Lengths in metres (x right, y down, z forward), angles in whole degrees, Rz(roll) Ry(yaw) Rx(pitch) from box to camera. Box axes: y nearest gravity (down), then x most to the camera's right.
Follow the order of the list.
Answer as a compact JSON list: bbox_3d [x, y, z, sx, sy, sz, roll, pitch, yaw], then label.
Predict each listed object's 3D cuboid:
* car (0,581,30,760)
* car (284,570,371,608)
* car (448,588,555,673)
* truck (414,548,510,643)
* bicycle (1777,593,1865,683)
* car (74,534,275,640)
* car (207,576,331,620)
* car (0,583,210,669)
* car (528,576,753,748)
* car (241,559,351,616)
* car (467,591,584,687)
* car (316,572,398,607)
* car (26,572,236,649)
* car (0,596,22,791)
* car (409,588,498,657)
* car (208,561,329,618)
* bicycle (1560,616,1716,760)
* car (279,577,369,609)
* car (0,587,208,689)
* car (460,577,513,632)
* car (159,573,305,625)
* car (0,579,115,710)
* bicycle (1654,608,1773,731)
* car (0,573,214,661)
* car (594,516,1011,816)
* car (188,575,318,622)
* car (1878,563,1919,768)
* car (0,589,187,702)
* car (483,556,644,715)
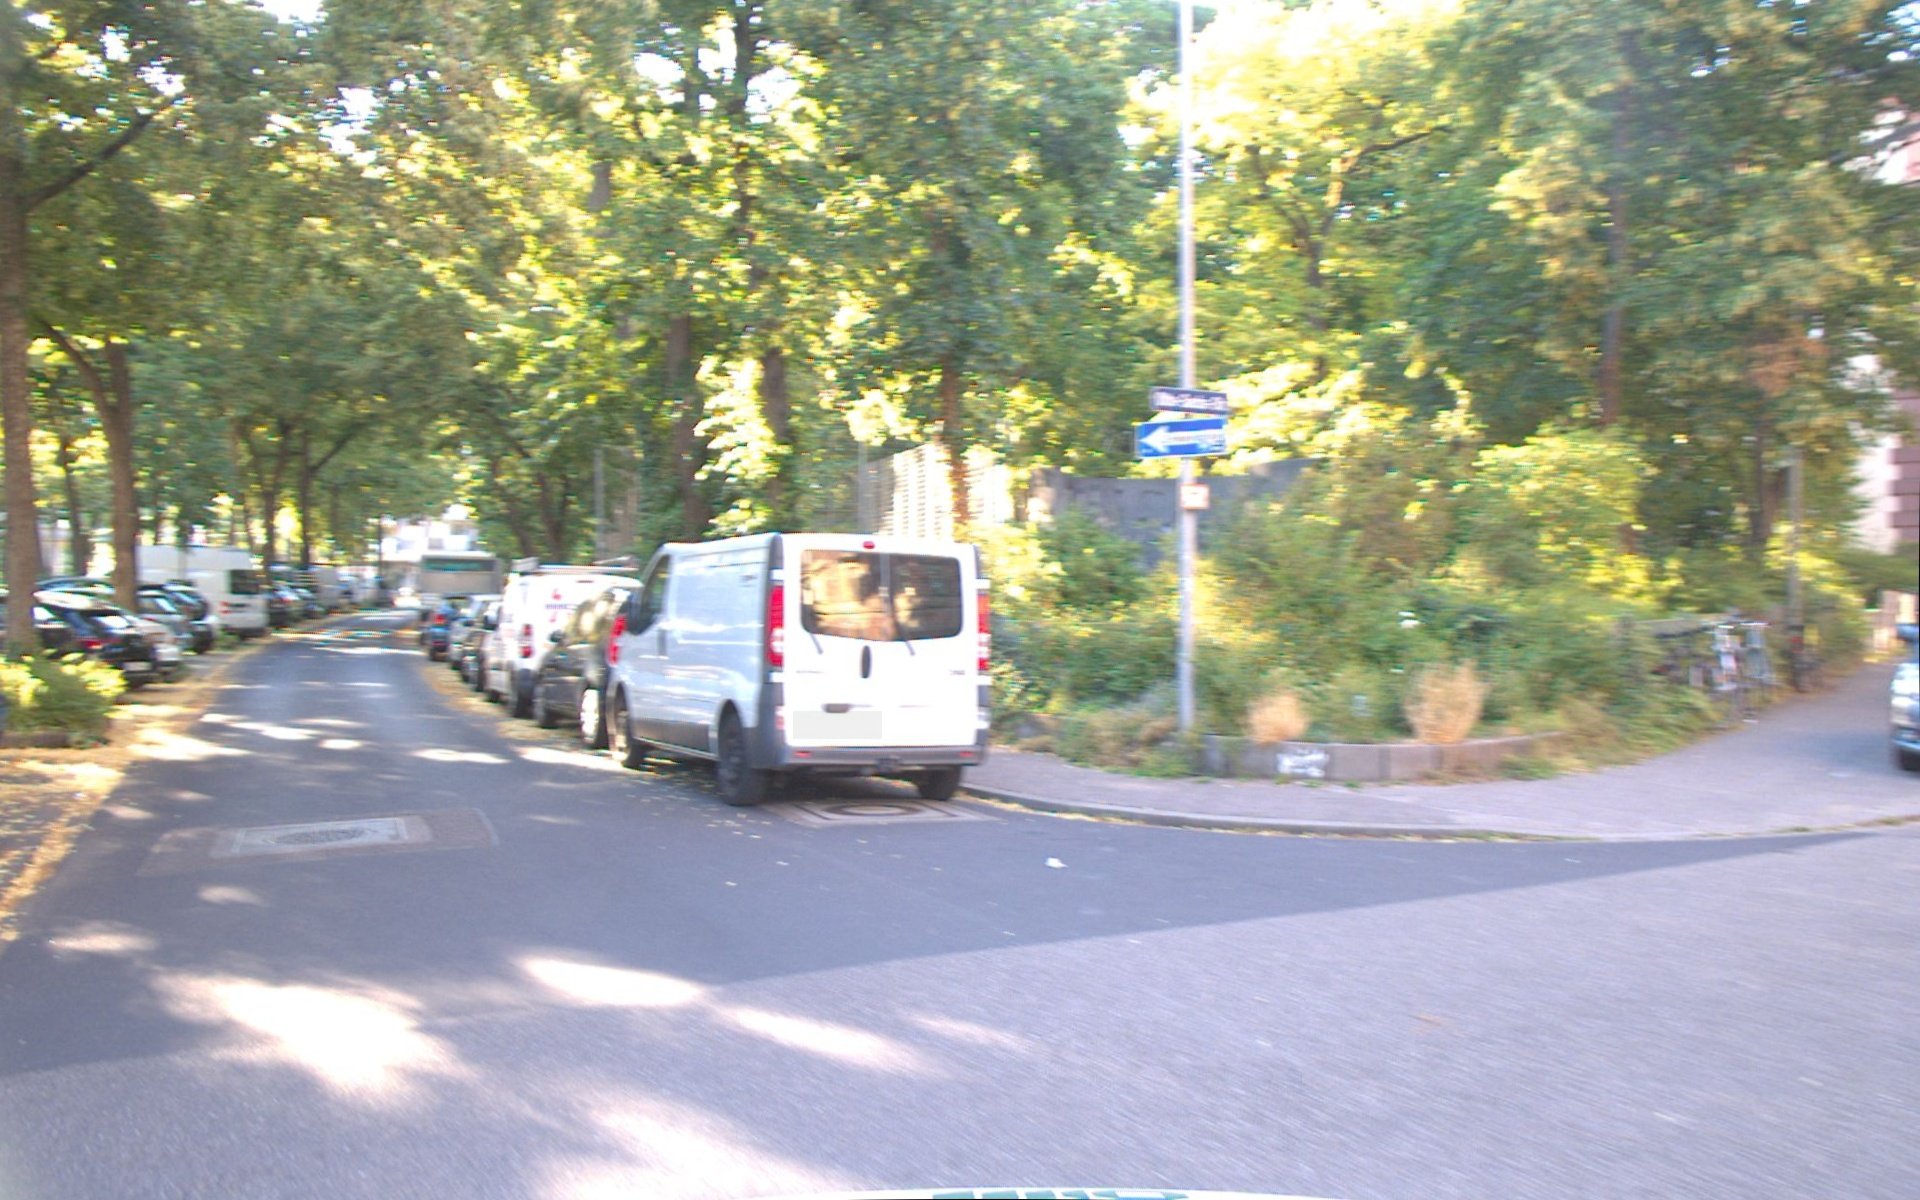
[{"bbox_3d":[-10.346,0.562,14.431,3.531,1.589,1.608,3,1,5],"label":"car"},{"bbox_3d":[-34.162,-0.604,89.375,3.992,1.820,1.821,2,-1,12],"label":"car"},{"bbox_3d":[-8.742,0.525,31.381,1.550,1.493,3.576,0,1,-23],"label":"car"},{"bbox_3d":[-13.278,-0.144,43.953,2.330,2.393,4.361,0,1,-18],"label":"truck"},{"bbox_3d":[11.546,0.474,22.132,0.587,1.120,2.615,0,1,38],"label":"bicycle"},{"bbox_3d":[-20.355,-0.336,42.942,4.390,2.519,1.821,2,-1,12],"label":"car"},{"bbox_3d":[-26.499,-0.078,63.487,3.992,1.499,1.821,2,-1,12],"label":"car"},{"bbox_3d":[-16.556,0.486,31.407,3.739,1.446,1.738,3,-1,0],"label":"car"},{"bbox_3d":[-3.566,0.571,17.994,1.551,1.666,3.682,0,1,-25],"label":"car"},{"bbox_3d":[-28.830,-0.551,71.883,3.992,2.249,1.821,2,-1,12],"label":"car"},{"bbox_3d":[-7.106,0.571,26.852,1.548,1.410,3.580,0,1,-20],"label":"car"},{"bbox_3d":[-34.649,-0.586,95.020,3.992,1.820,1.821,2,-1,12],"label":"car"},{"bbox_3d":[-18.462,0.251,36.934,3.739,1.507,1.738,3,-1,0],"label":"car"},{"bbox_3d":[-9.047,0.635,12.013,3.531,1.472,1.608,3,1,4],"label":"car"},{"bbox_3d":[-11.178,0.455,36.397,1.550,1.409,3.576,0,1,-22],"label":"car"},{"bbox_3d":[-27.498,-0.408,65.824,3.992,2.075,1.821,2,-1,12],"label":"car"},{"bbox_3d":[6.082,0.729,14.734,0.587,1.120,2.615,0,1,38],"label":"bicycle"},{"bbox_3d":[-33.285,-0.362,86.641,3.992,1.499,1.821,2,-1,12],"label":"car"},{"bbox_3d":[-13.996,0.559,25.723,3.739,1.415,1.738,3,-1,0],"label":"car"},{"bbox_3d":[-14.960,0.122,52.279,1.546,1.677,3.584,0,1,-16],"label":"car"},{"bbox_3d":[-23.891,-0.019,54.332,3.992,1.499,1.821,2,-1,12],"label":"car"},{"bbox_3d":[-12.830,0.465,20.498,3.739,1.523,1.738,3,-1,0],"label":"car"},{"bbox_3d":[7.724,0.661,16.885,0.587,1.120,2.617,0,1,36],"label":"bicycle"},{"bbox_3d":[-17.715,0.347,34.173,3.739,1.615,1.738,3,-1,0],"label":"car"},{"bbox_3d":[-1.511,0.413,13.744,1.921,2.038,4.619,0,1,-27],"label":"car"},{"bbox_3d":[-25.991,-0.056,60.858,3.992,1.499,1.821,2,-1,12],"label":"car"},{"bbox_3d":[9.566,0.553,14.732,1.797,1.642,4.273,4,3,37],"label":"car"},{"bbox_3d":[-13.014,0.578,22.877,3.739,1.415,1.738,3,-1,0],"label":"car"},{"bbox_3d":[-5.411,0.404,22.245,1.549,1.937,3.876,0,1,-22],"label":"car"}]
